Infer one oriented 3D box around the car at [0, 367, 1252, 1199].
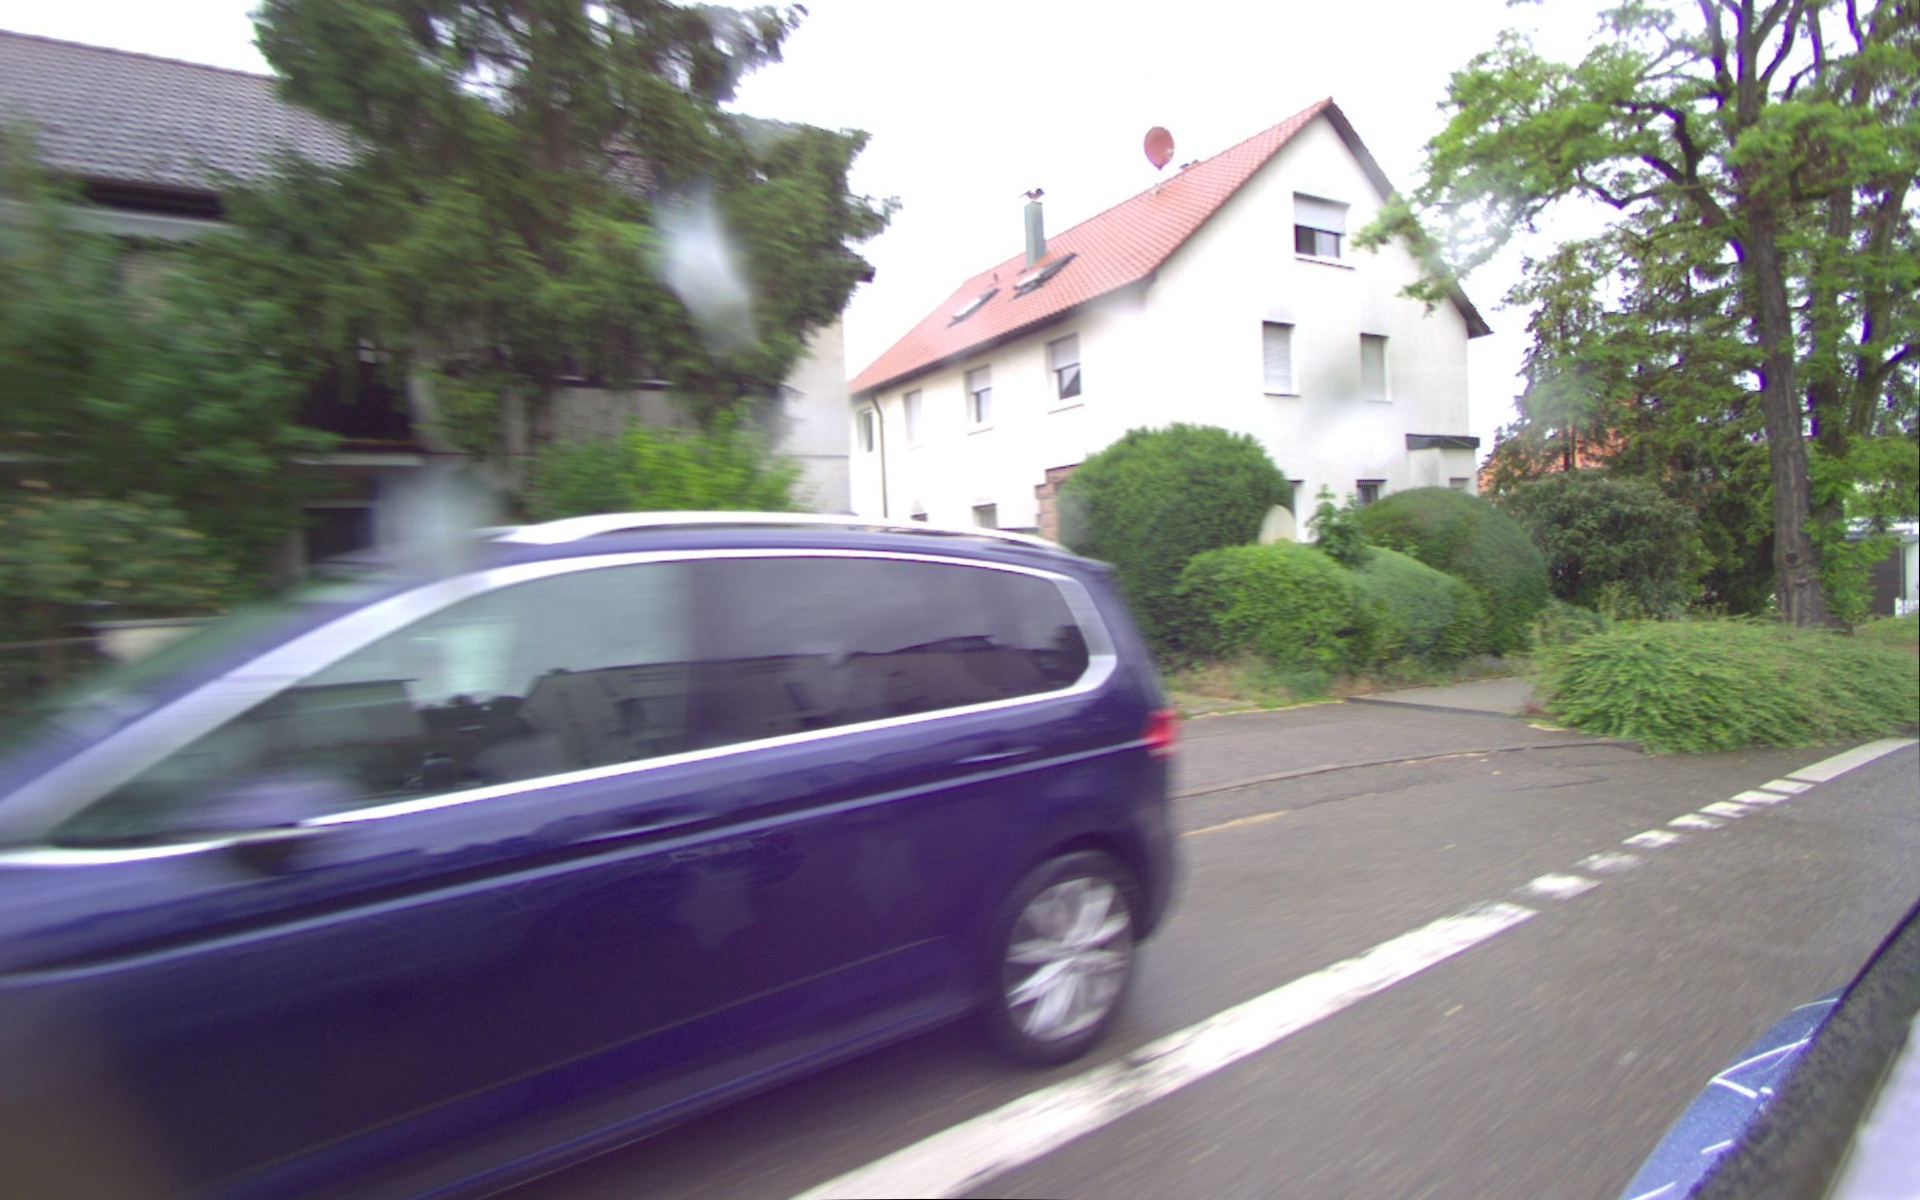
[{"bbox_3d":[-1.202,0.492,2.937,4.382,1.722,1.833,-1,1,-40],"label":"car"}]
